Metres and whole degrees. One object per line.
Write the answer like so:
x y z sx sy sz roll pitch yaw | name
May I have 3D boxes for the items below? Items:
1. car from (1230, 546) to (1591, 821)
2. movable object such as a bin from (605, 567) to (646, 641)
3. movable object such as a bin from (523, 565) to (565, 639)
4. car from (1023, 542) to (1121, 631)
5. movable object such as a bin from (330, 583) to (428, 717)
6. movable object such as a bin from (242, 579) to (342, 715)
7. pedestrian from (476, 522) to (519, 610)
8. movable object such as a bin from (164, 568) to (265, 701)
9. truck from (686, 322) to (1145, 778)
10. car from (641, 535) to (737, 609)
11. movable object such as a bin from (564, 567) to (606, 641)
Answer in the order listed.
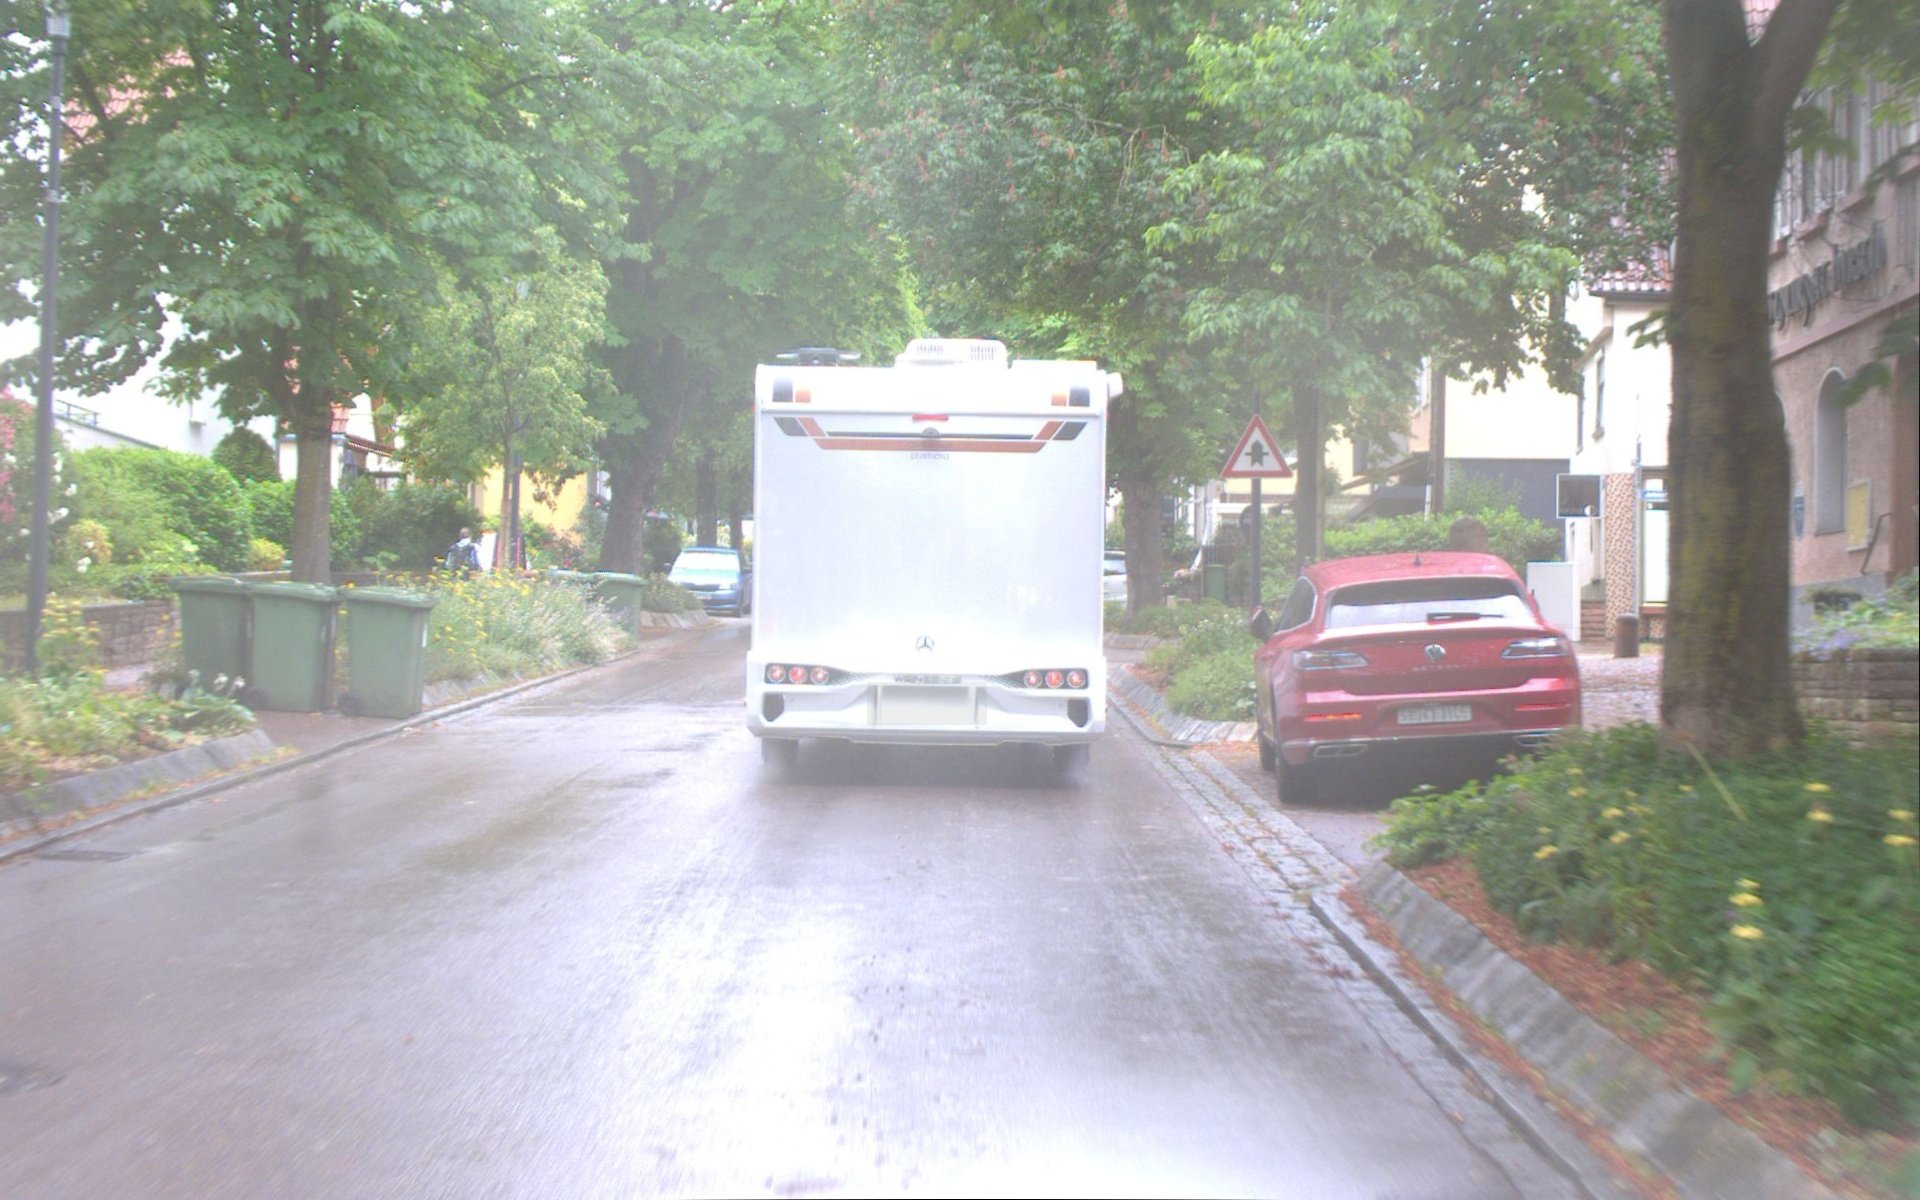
2.736 0.440 21.786 1.855 1.467 4.365 2 1 3 | car
-4.780 0.054 49.159 0.528 1.055 0.562 0 0 0 | movable object such as a bin
-5.940 0.031 49.104 0.528 1.055 0.562 0 0 0 | movable object such as a bin
1.981 -0.232 61.591 1.649 1.536 3.530 0 0 0 | car
-4.807 0.409 28.474 0.670 1.091 0.817 1 0 -1 | movable object such as a bin
-5.529 0.383 28.485 0.670 1.101 0.817 1 0 -1 | movable object such as a bin
-9.696 -0.703 72.098 0.817 1.838 0.770 0 0 -1 | pedestrian
-6.300 0.291 29.083 0.670 1.101 0.817 1 0 -1 | movable object such as a bin
-0.303 -0.310 24.120 2.805 2.787 6.107 0 0 -1 | truck
-5.857 -0.585 73.987 1.797 1.547 4.001 0 0 -8 | car
-5.354 0.056 49.111 0.528 1.055 0.562 0 0 0 | movable object such as a bin
